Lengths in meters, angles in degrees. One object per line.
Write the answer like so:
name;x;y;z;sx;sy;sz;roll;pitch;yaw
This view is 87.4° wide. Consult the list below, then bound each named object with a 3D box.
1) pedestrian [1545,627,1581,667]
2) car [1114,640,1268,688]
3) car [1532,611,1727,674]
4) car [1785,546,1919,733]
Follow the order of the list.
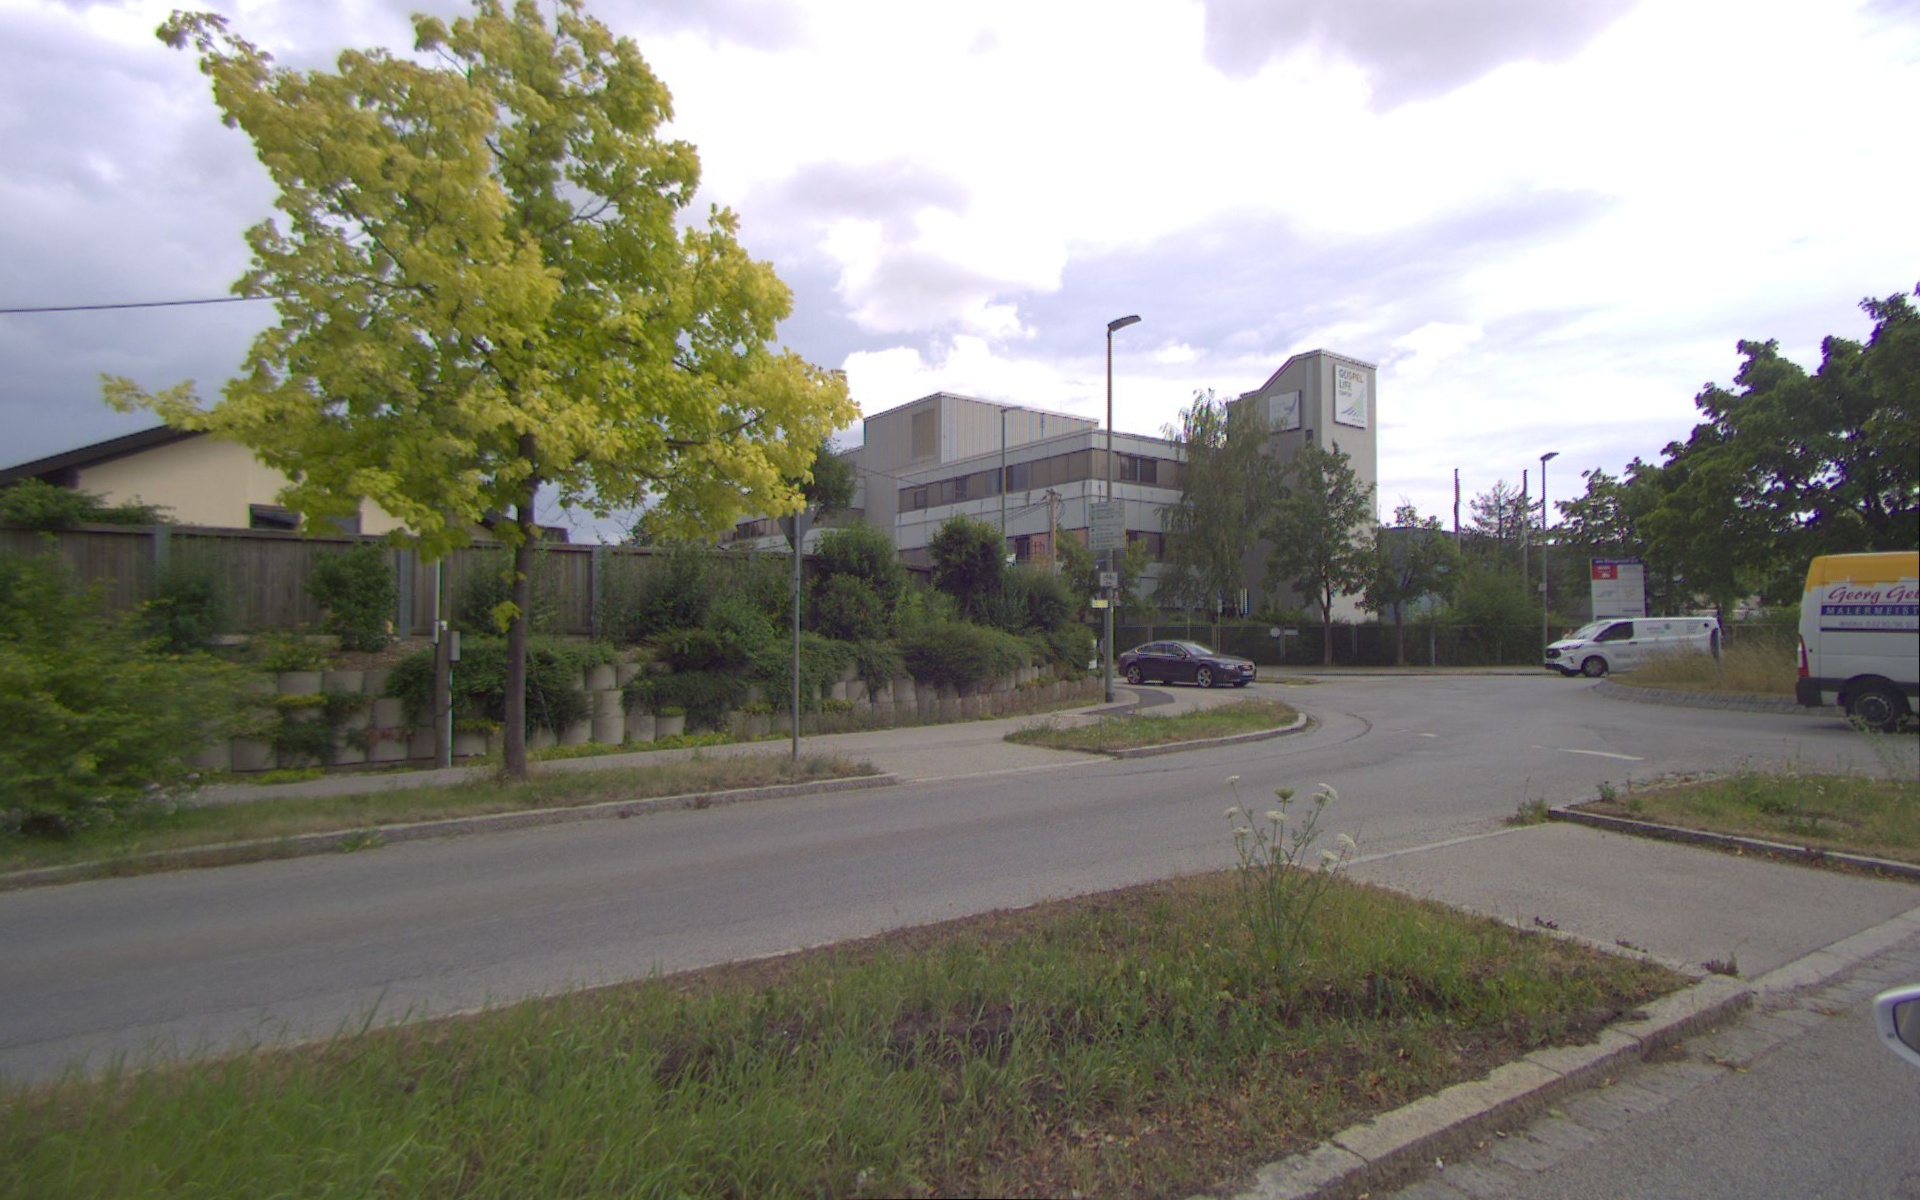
pedestrian;22.710;1.770;37.827;0.932;1.487;0.632;-1;-2;-10
car;7.015;1.934;30.878;1.919;1.365;4.423;2;-3;-38
car;22.282;1.440;33.629;4.969;1.930;2.002;-2;-2;8
car;14.138;0.479;12.642;2.138;2.484;5.414;-1;-1;-22
